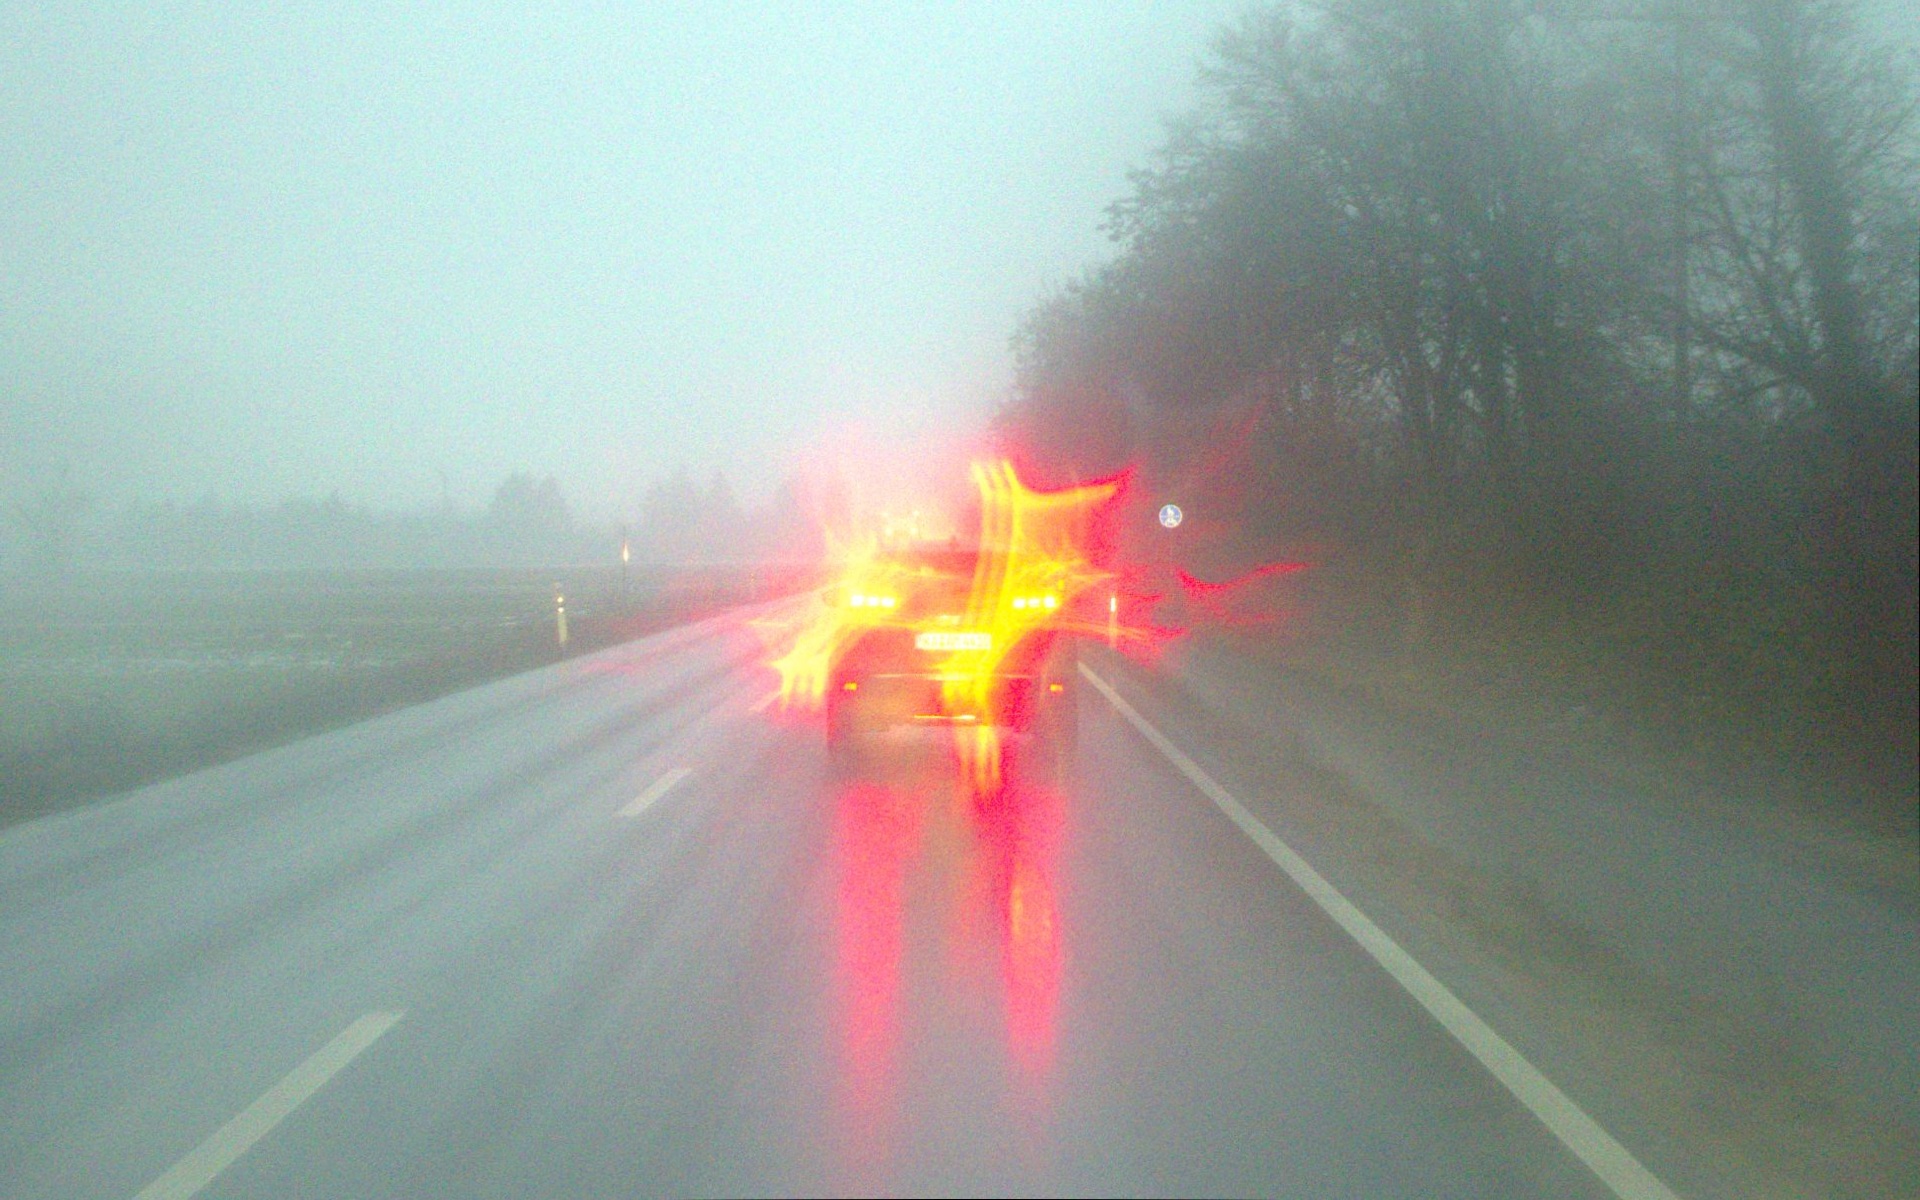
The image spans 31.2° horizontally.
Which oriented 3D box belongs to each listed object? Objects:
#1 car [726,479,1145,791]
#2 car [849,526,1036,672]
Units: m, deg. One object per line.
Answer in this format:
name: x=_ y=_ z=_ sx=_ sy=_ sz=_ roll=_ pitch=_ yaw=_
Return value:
car: x=-0.145 y=0.205 z=26.290 sx=2.820 sy=2.070 sz=5.804 roll=1 pitch=1 yaw=0
car: x=-0.223 y=-0.044 z=51.289 sx=2.592 sy=2.007 sz=5.804 roll=1 pitch=1 yaw=0
